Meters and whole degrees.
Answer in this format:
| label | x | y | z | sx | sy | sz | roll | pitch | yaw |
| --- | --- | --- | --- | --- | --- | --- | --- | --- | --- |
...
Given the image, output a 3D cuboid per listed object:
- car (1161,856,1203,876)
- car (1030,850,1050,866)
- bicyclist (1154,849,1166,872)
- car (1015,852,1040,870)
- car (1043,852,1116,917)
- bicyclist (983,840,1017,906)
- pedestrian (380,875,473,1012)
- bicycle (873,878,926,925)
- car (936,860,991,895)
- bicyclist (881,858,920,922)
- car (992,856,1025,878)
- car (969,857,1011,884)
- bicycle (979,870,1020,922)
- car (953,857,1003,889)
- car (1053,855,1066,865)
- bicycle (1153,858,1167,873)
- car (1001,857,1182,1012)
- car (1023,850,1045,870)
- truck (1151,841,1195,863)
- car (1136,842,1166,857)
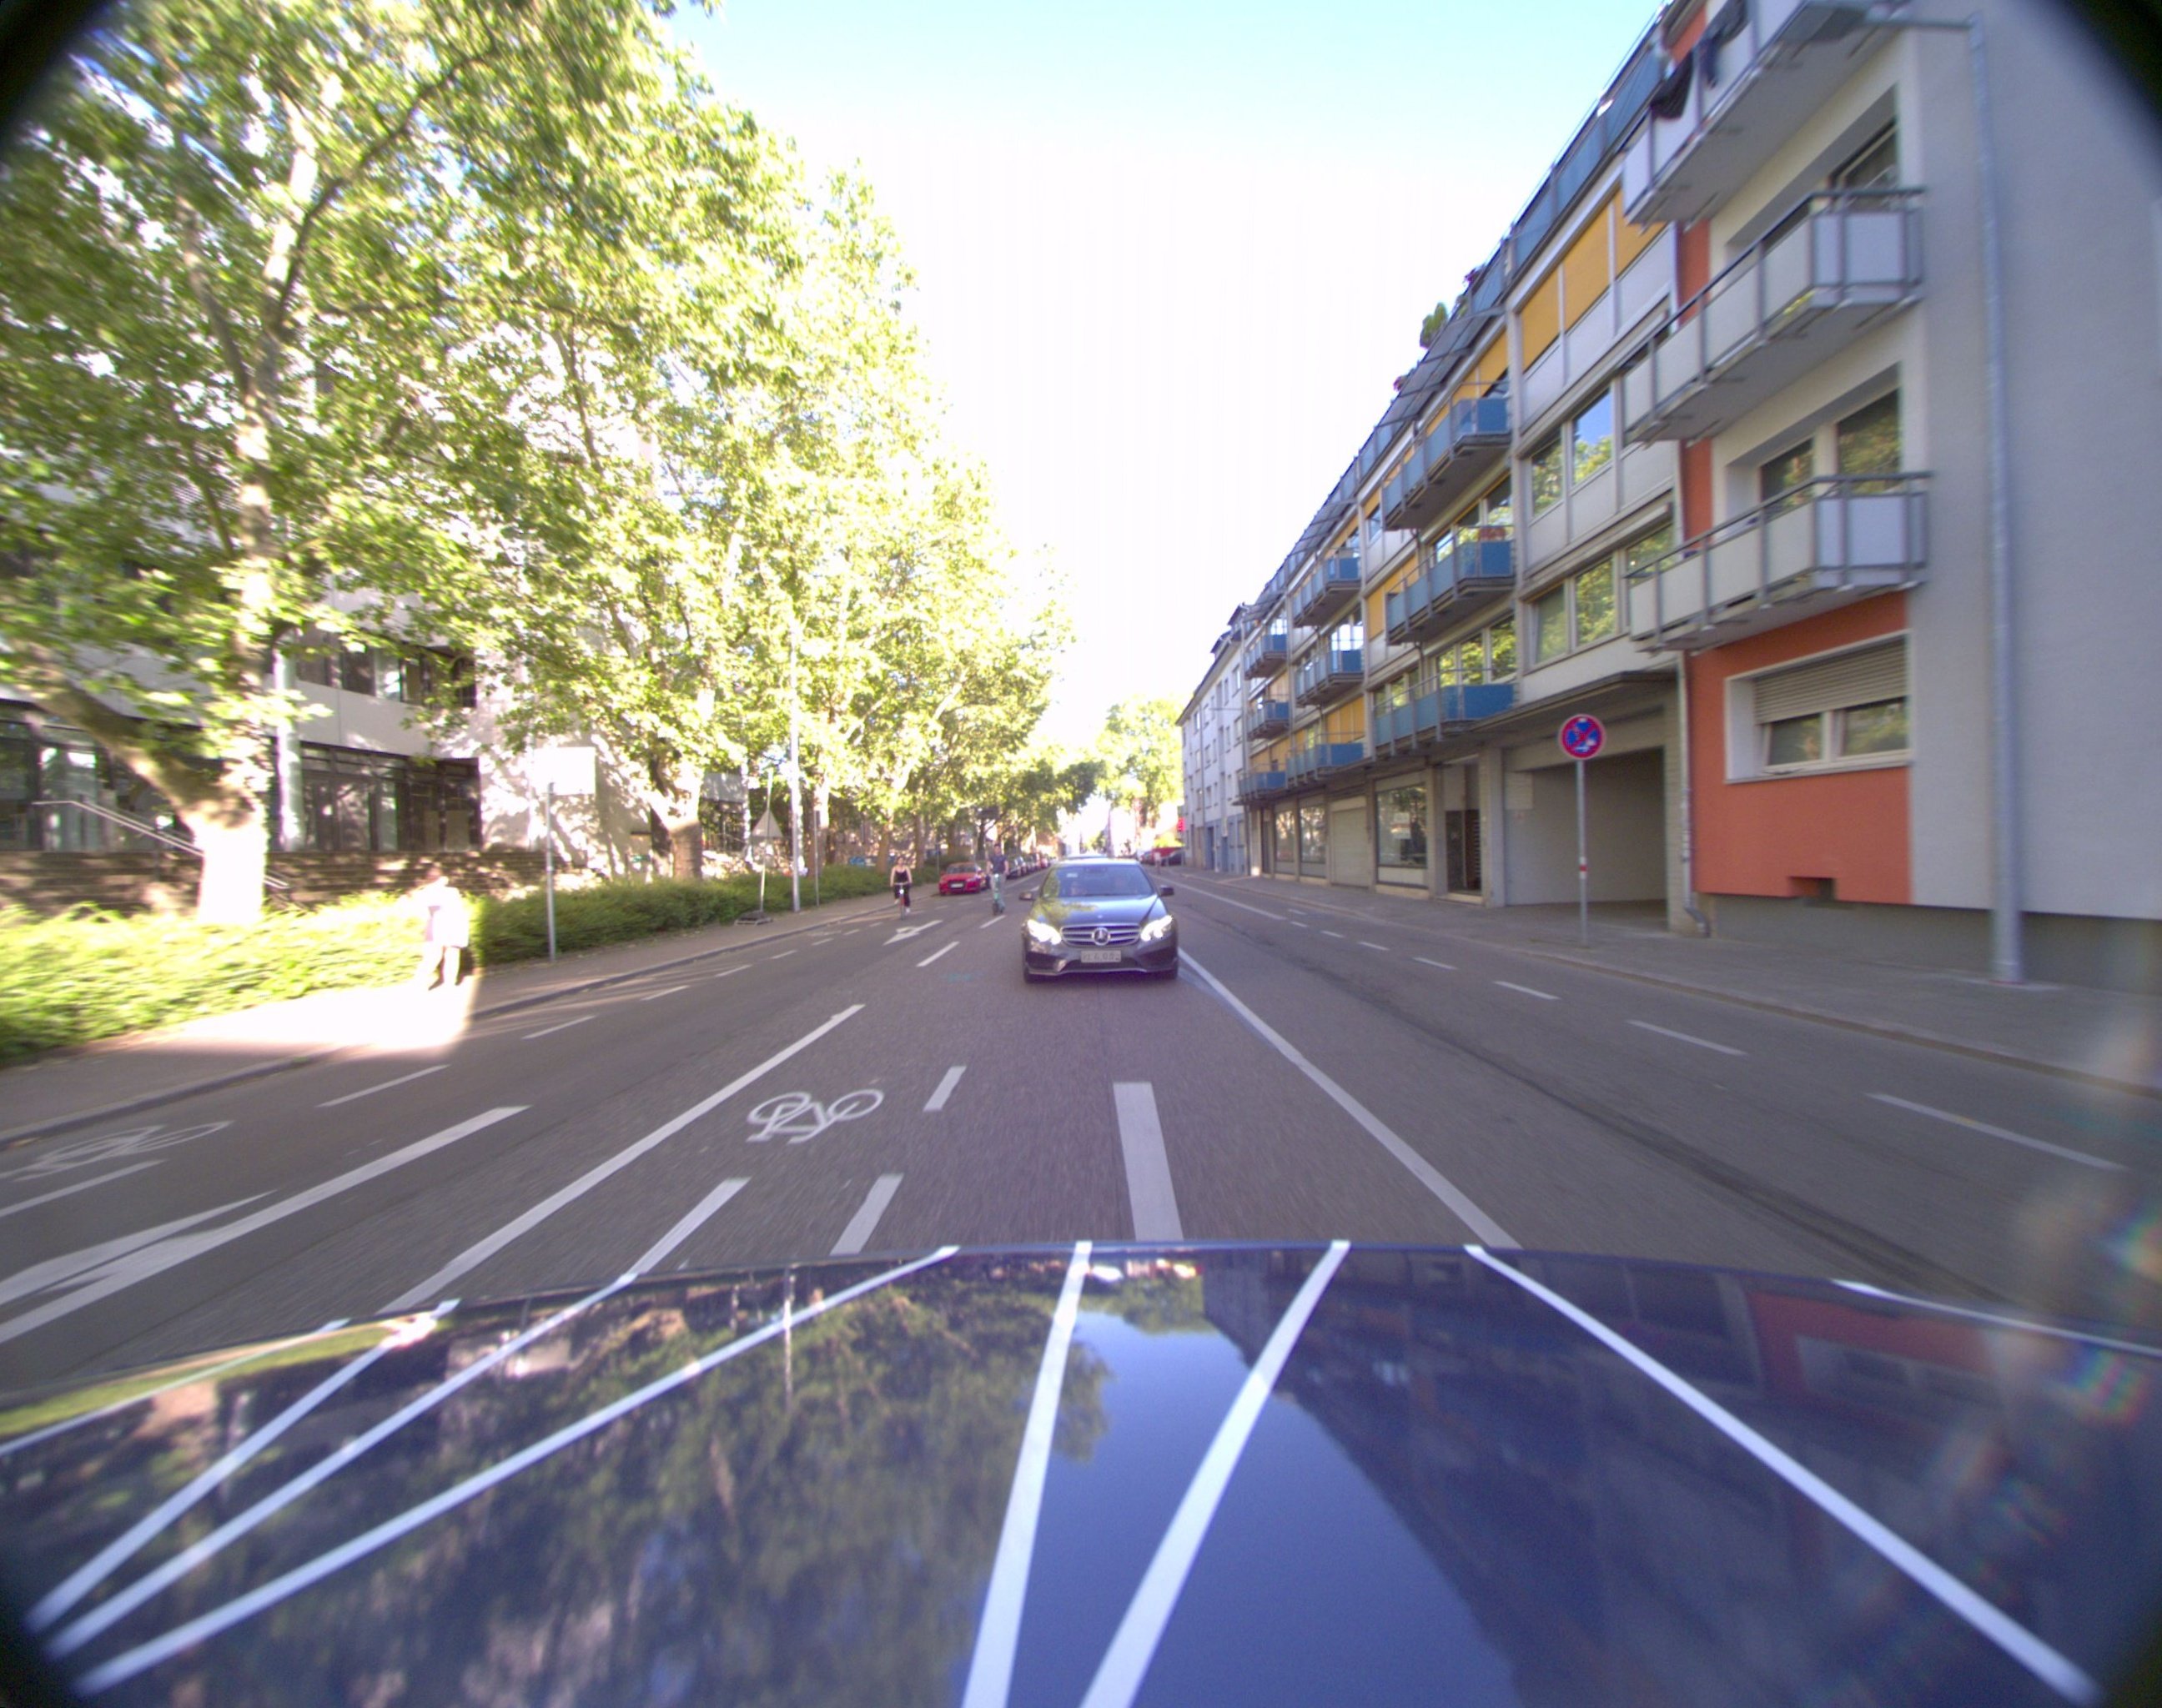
| label | x | y | z | sx | sy | sz | roll | pitch | yaw |
| --- | --- | --- | --- | --- | --- | --- | --- | --- | --- |
| car | 10.155 | 1.222 | 76.576 | 3.997 | 1.825 | 1.830 | -2 | 1 | -1 |
| car | -4.751 | 0.429 | 87.998 | 1.898 | 1.807 | 4.077 | -2 | 0 | 1 |
| bicyclist | 5.634 | 0.485 | 54.250 | 0.692 | 1.621 | 0.758 | -1 | 1 | -1 |
| car | -5.058 | 0.628 | 72.253 | 1.898 | 1.642 | 4.077 | -2 | 0 | 1 |
| car | 0.057 | 0.778 | 21.650 | 1.746 | 1.594 | 4.000 | -2 | 1 | 4 |
| bicyclist | -2.188 | 0.489 | 20.607 | 0.770 | 1.723 | 0.900 | -3 | 1 | -1 |
| pedestrian | -8.009 | 1.068 | 9.328 | 0.462 | 1.585 | 0.682 | -2 | 1 | -1 |
| bicycle | -4.937 | 1.254 | 20.842 | 0.770 | 1.129 | 2.815 | -2 | 0 | -1 |
| car | -5.368 | 1.046 | 35.162 | 1.898 | 1.435 | 4.076 | -2 | 0 | -1 |
| bicyclist | -4.973 | 0.974 | 20.991 | 0.770 | 1.670 | 0.895 | -4 | 1 | -1 |
| car | -5.170 | 0.888 | 54.771 | 1.898 | 1.443 | 4.077 | -2 | 0 | 1 |
| car | -5.367 | 0.948 | 45.383 | 1.898 | 1.443 | 4.077 | -2 | 0 | 1 |
| bicycle | -2.158 | 1.094 | 20.563 | 0.770 | 1.129 | 2.814 | -4 | 1 | -1 |
| car | -5.349 | 0.958 | 39.881 | 1.898 | 1.439 | 4.077 | -2 | 0 | 1 |
| car | -3.507 | 0.962 | 124.174 | 1.898 | 1.542 | 4.077 | -2 | 0 | 1 |
| bicycle | 5.634 | 0.821 | 54.293 | 0.692 | 0.980 | 2.631 | -1 | 1 | -1 |
| car | 0.391 | 0.841 | 10.050 | 1.797 | 1.460 | 4.721 | -2 | 0 | 7 |
| car | -4.724 | 0.568 | 77.009 | 1.898 | 1.841 | 4.077 | -2 | 0 | 1 |
| truck | 9.842 | -0.245 | 81.829 | 4.404 | 2.146 | 1.877 | -2 | 1 | -1 |
| car | 9.845 | -0.682 | 107.053 | 3.997 | 2.002 | 1.999 | -2 | 1 | -2 |
